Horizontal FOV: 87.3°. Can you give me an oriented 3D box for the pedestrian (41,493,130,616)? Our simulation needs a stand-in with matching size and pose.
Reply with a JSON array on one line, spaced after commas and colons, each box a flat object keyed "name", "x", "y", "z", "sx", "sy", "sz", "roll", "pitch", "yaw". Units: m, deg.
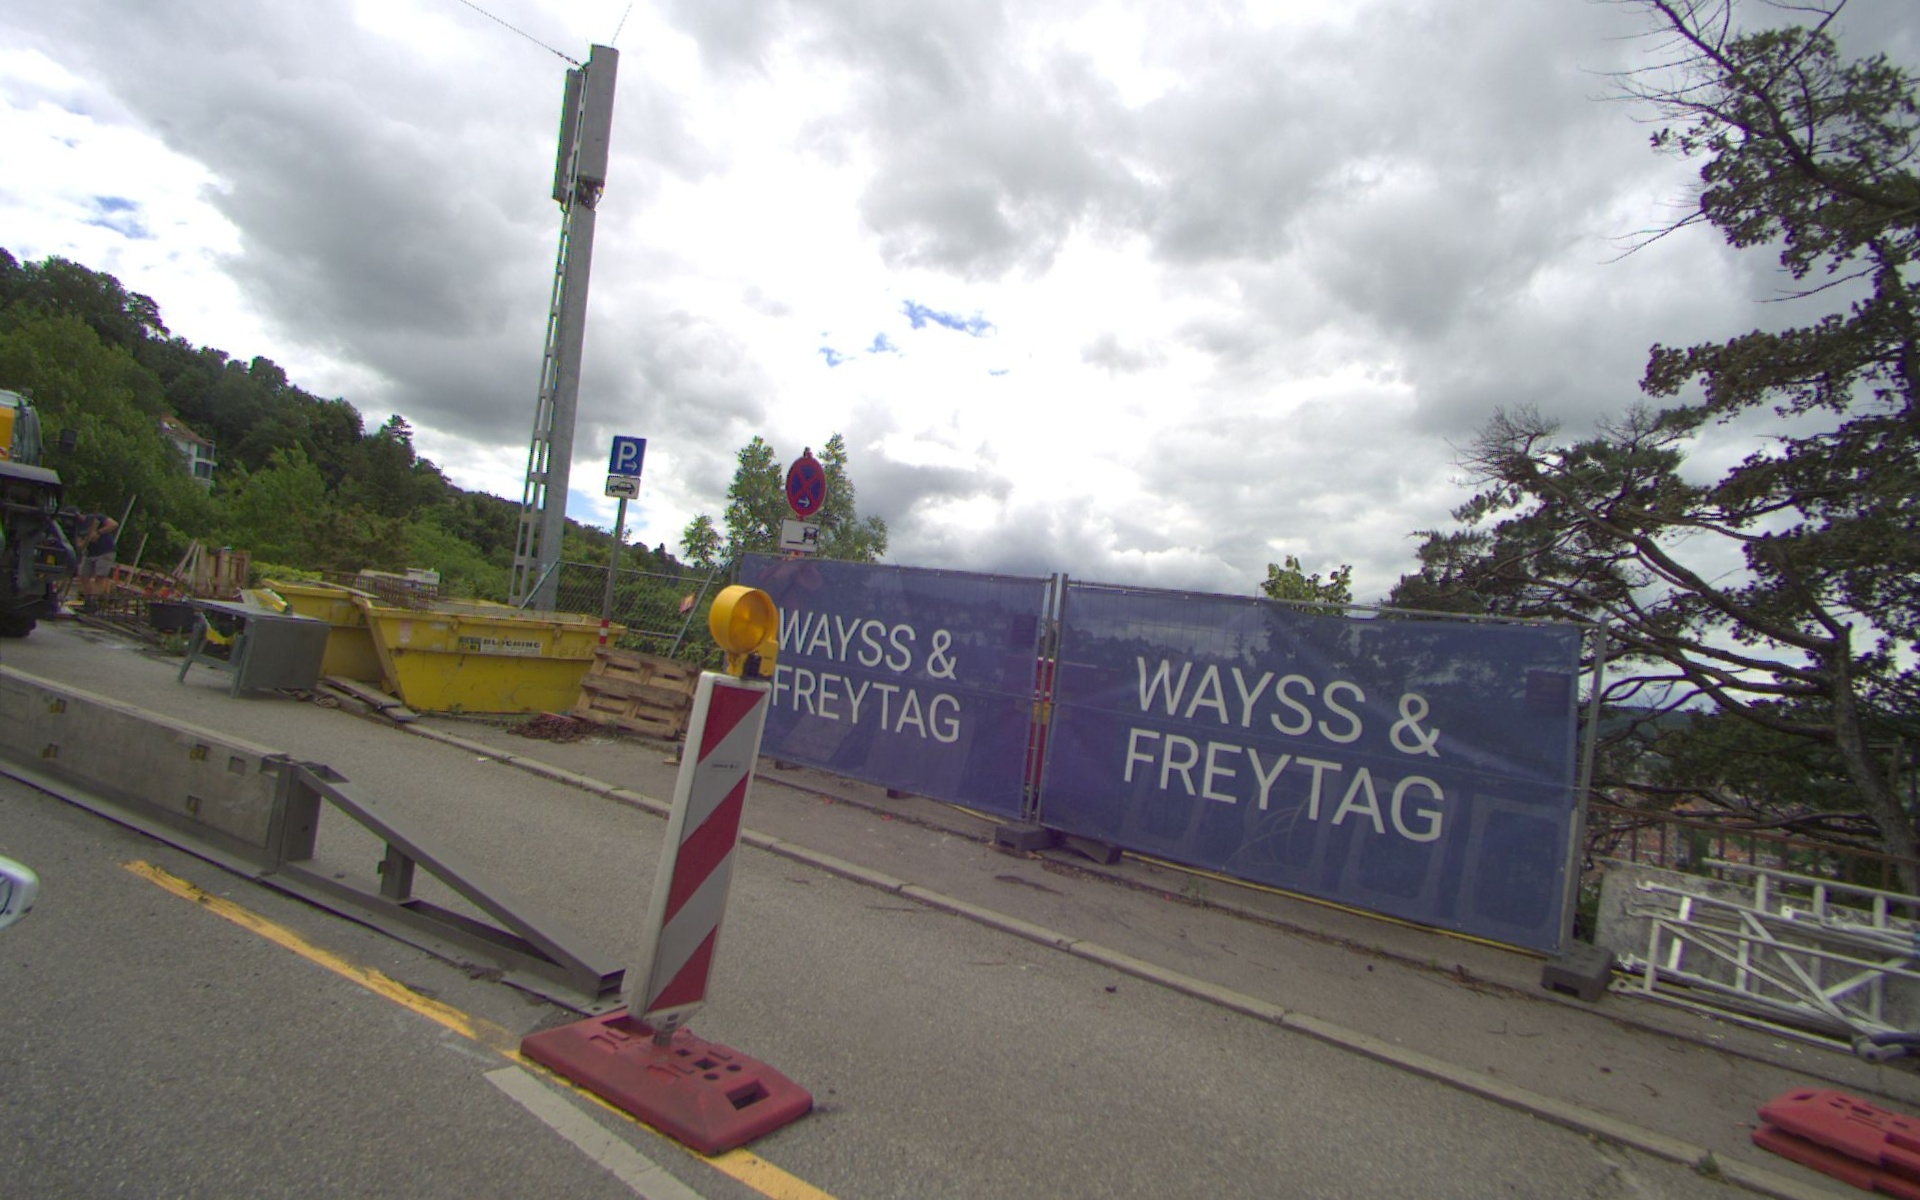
[{"name": "pedestrian", "x": -13.847, "y": -0.708, "z": 15.941, "sx": 0.530, "sy": 1.815, "sz": 0.691, "roll": 8, "pitch": -1, "yaw": 22}]

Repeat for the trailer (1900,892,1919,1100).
[{"name": "trailer", "x": 5.981, "y": 1.045, "z": 2.407, "sx": 5.042, "sy": 2.581, "sz": 2.106, "roll": 6, "pitch": 0, "yaw": 38}]

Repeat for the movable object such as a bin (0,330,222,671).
[{"name": "movable object such as a bin", "x": -12.271, "y": -1.324, "z": 11.692, "sx": 7.691, "sy": 3.104, "sz": 2.820, "roll": 7, "pitch": -3, "yaw": 30}]
